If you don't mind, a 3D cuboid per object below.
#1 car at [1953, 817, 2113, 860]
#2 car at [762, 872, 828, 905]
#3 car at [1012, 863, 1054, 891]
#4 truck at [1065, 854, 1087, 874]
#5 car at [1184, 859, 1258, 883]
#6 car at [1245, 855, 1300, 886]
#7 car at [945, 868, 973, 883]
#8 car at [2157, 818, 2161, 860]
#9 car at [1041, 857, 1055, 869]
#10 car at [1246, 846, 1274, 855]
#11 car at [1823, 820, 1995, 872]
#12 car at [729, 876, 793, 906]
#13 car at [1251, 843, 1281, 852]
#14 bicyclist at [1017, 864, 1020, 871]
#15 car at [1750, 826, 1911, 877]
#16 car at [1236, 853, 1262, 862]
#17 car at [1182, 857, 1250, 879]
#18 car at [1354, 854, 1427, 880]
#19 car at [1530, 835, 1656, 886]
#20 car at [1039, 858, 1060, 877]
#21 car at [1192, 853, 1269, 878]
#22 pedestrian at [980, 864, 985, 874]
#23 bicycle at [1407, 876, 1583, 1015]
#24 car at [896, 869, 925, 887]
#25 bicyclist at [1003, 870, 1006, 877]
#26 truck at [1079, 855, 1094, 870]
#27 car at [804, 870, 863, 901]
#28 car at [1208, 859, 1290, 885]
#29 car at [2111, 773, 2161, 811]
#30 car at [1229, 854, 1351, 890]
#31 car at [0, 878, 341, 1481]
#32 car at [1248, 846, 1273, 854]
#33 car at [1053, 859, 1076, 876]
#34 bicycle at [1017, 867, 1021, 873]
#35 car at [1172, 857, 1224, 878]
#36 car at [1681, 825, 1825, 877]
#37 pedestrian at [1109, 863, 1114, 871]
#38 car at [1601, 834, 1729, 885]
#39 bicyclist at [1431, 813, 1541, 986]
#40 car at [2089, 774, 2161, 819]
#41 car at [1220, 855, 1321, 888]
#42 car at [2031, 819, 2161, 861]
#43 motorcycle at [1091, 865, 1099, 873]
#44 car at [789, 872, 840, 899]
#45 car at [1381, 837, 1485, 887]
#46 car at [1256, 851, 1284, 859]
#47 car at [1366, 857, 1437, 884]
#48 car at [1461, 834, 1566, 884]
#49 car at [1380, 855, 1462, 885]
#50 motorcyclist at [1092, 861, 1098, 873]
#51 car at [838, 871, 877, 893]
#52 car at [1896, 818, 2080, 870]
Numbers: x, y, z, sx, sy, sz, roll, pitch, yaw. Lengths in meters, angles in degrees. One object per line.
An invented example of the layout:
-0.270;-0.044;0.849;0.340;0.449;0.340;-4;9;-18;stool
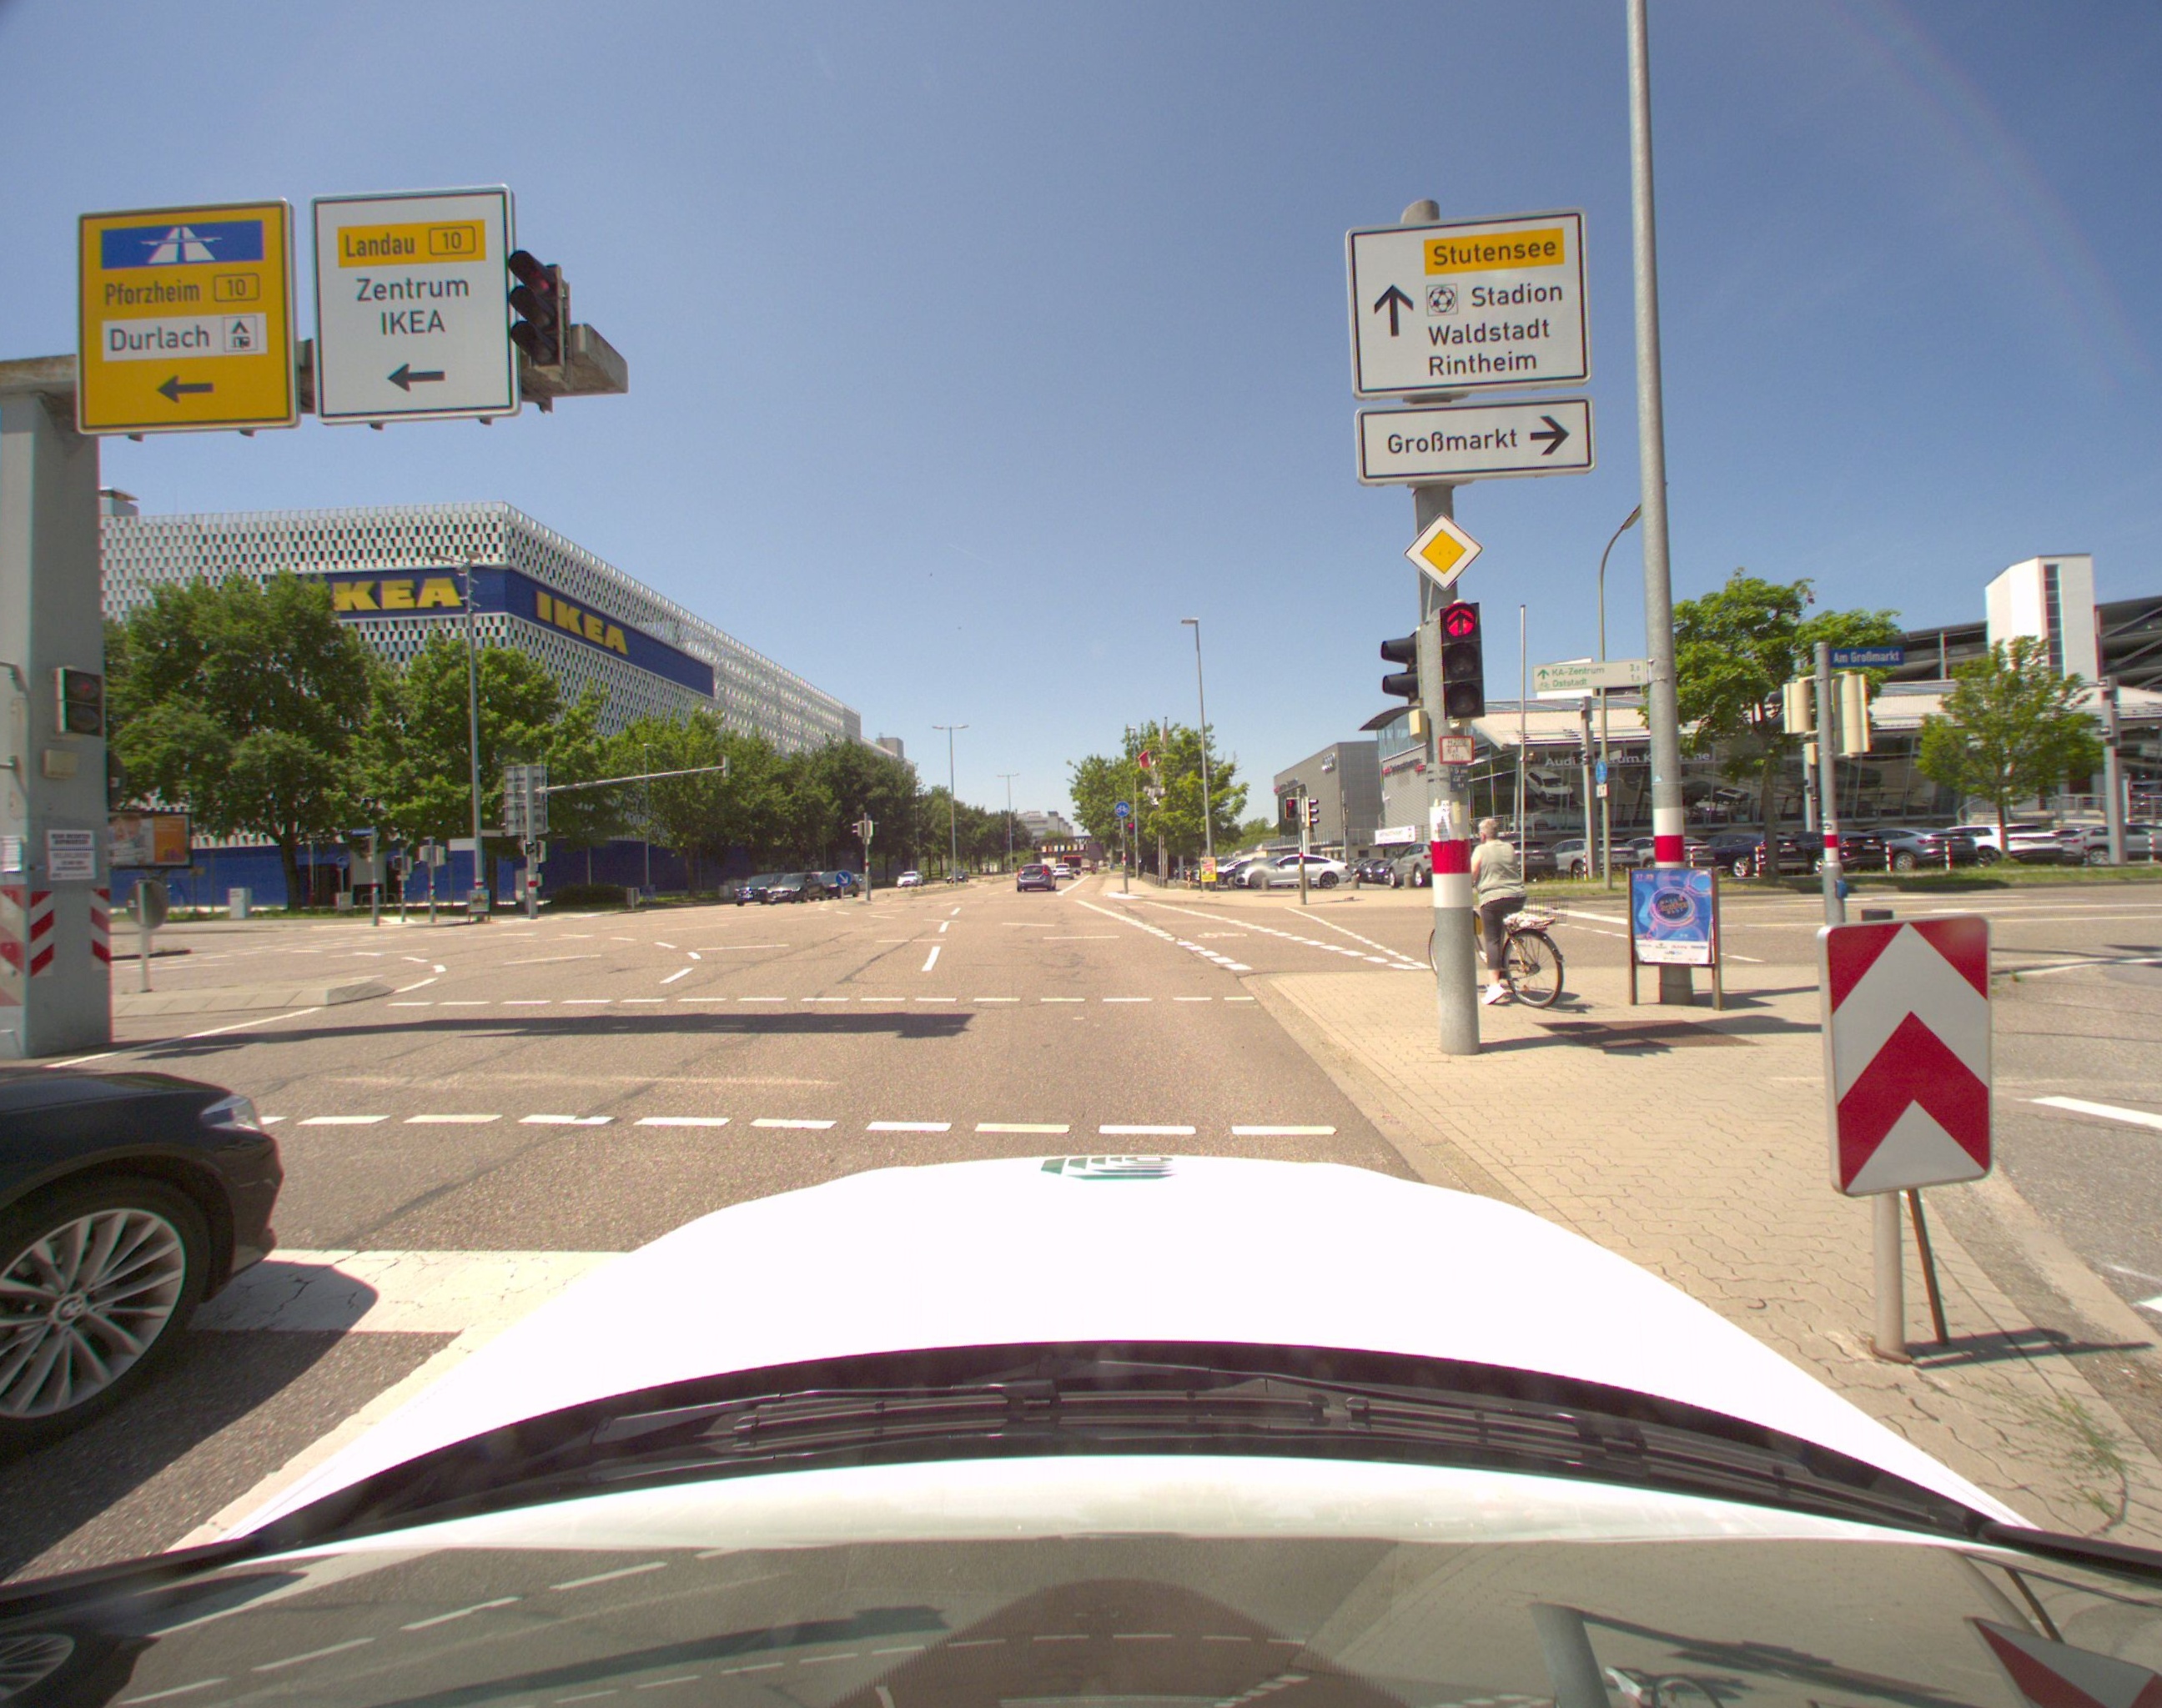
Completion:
39.866;-0.635;34.245;3.947;1.571;1.862;-3;-1;31;car
-13.741;1.643;39.355;1.637;1.389;3.717;-4;-1;2;car
-2.517;1.214;43.955;1.894;1.376;4.232;-2;-1;1;car
-0.615;1.238;102.757;2.449;2.410;7.136;0;-1;2;truck
8.382;1.036;48.974;4.210;1.390;1.869;0;-1;1;car
9.228;0.795;39.608;1.855;1.420;4.667;0;-1;4;car
-12.567;2.183;83.975;1.718;1.446;4.725;-4;-1;4;car
39.531;-0.589;26.825;4.558;1.471;1.861;-2;0;26;car
-5.470;1.465;135.074;1.986;2.014;4.814;0;-1;2;car
28.320;-0.558;129.004;3.977;1.312;1.795;0;-1;-3;car
28.516;-0.230;28.261;1.840;1.654;3.994;0;-1;-2;car
-16.795;1.903;42.943;1.654;1.424;4.039;-3;-1;2;car
27.269;-0.885;120.009;3.930;1.211;1.715;-1;-1;-3;car
-14.572;3.216;190.017;0.631;1.629;1.045;-4;-1;1;bicyclist
25.825;-0.052;28.262;1.840;1.654;3.994;0;-1;-2;car
29.181;0.650;141.489;3.978;1.312;1.795;-2;-1;-3;car
8.619;0.897;52.097;4.085;1.405;1.869;0;-1;1;car
19.352;0.820;50.979;3.967;1.573;1.634;0;-1;1;car
17.898;0.229;28.707;1.840;1.654;3.994;0;-1;-2;car
-3.492;1.496;90.908;1.986;2.014;4.000;-2;-1;1;car
8.496;0.653;46.437;4.084;1.349;1.869;0;-1;1;car
-18.942;2.897;156.785;0.741;1.884;0.578;-2;-1;2;pedestrian
3.976;0.817;8.014;0.627;1.133;1.891;-1;0;-5;bicycle
-16.057;2.244;76.757;1.737;1.486;4.001;-3;-1;2;car
-15.975;4.081;170.160;0.635;1.582;0.884;-2;-1;0;bicyclist
1.111;1.609;155.202;2.605;2.850;5.616;0;-1;2;truck
-13.744;1.724;45.478;1.720;1.505;4.245;-4;-1;2;car
8.956;0.955;43.626;4.081;1.364;1.875;0;-1;1;car
53.637;-3.109;39.503;1.905;1.722;4.142;-2;0;-5;car
8.446;0.716;33.194;4.572;1.390;1.871;0;-1;3;car
-3.554;0.814;0.595;1.791;1.440;4.557;-2;0;1;car
27.404;-0.602;124.331;3.515;1.239;1.675;0;-1;-3;car
-1.428;1.174;72.194;1.737;1.396;3.530;-2;0;2;car
-14.532;3.747;190.084;0.627;1.159;2.118;-4;-1;1;bicycle
8.636;0.996;60.226;3.668;1.453;1.834;0;-1;1;car
23.098;-0.072;28.206;1.624;1.654;3.907;-1;-1;-2;car
5.044;2.170;134.751;0.621;1.374;0.564;-2;-1;0;pedestrian
20.190;0.146;28.351;1.632;1.616;3.815;-1;1;-2;car
3.969;0.425;8.031;0.627;1.606;0.824;0;-1;-5;bicyclist
45.710;-2.471;34.011;4.552;1.707;1.916;-2;-1;4;car
8.281;0.754;35.918;4.081;1.390;1.869;0;-1;1;car
39.672;-0.553;30.736;4.531;1.471;1.925;-3;-1;26;car
1.815;1.956;106.105;0.716;1.105;1.825;0;-1;-8;motorcycle
-16.680;1.939;51.183;1.720;1.544;3.916;-3;-1;2;car
12.369;0.335;28.931;1.860;1.558;4.506;-3;-2;3;car
26.958;0.157;116.224;3.716;1.130;1.682;0;-1;-3;car
19.215;0.999;48.935;3.634;1.580;1.643;0;-1;1;car
15.039;0.221;28.592;1.836;1.654;4.003;0;-2;5;car
19.132;0.890;45.931;3.970;1.622;1.657;0;-1;1;car
1.813;1.728;106.106;0.719;1.529;0.868;0;-1;-8;motorcyclist
-16.306;2.004;59.652;1.643;1.486;3.916;-3;-1;2;car
31.189;-0.287;28.205;1.840;1.654;3.994;0;-1;-2;car
